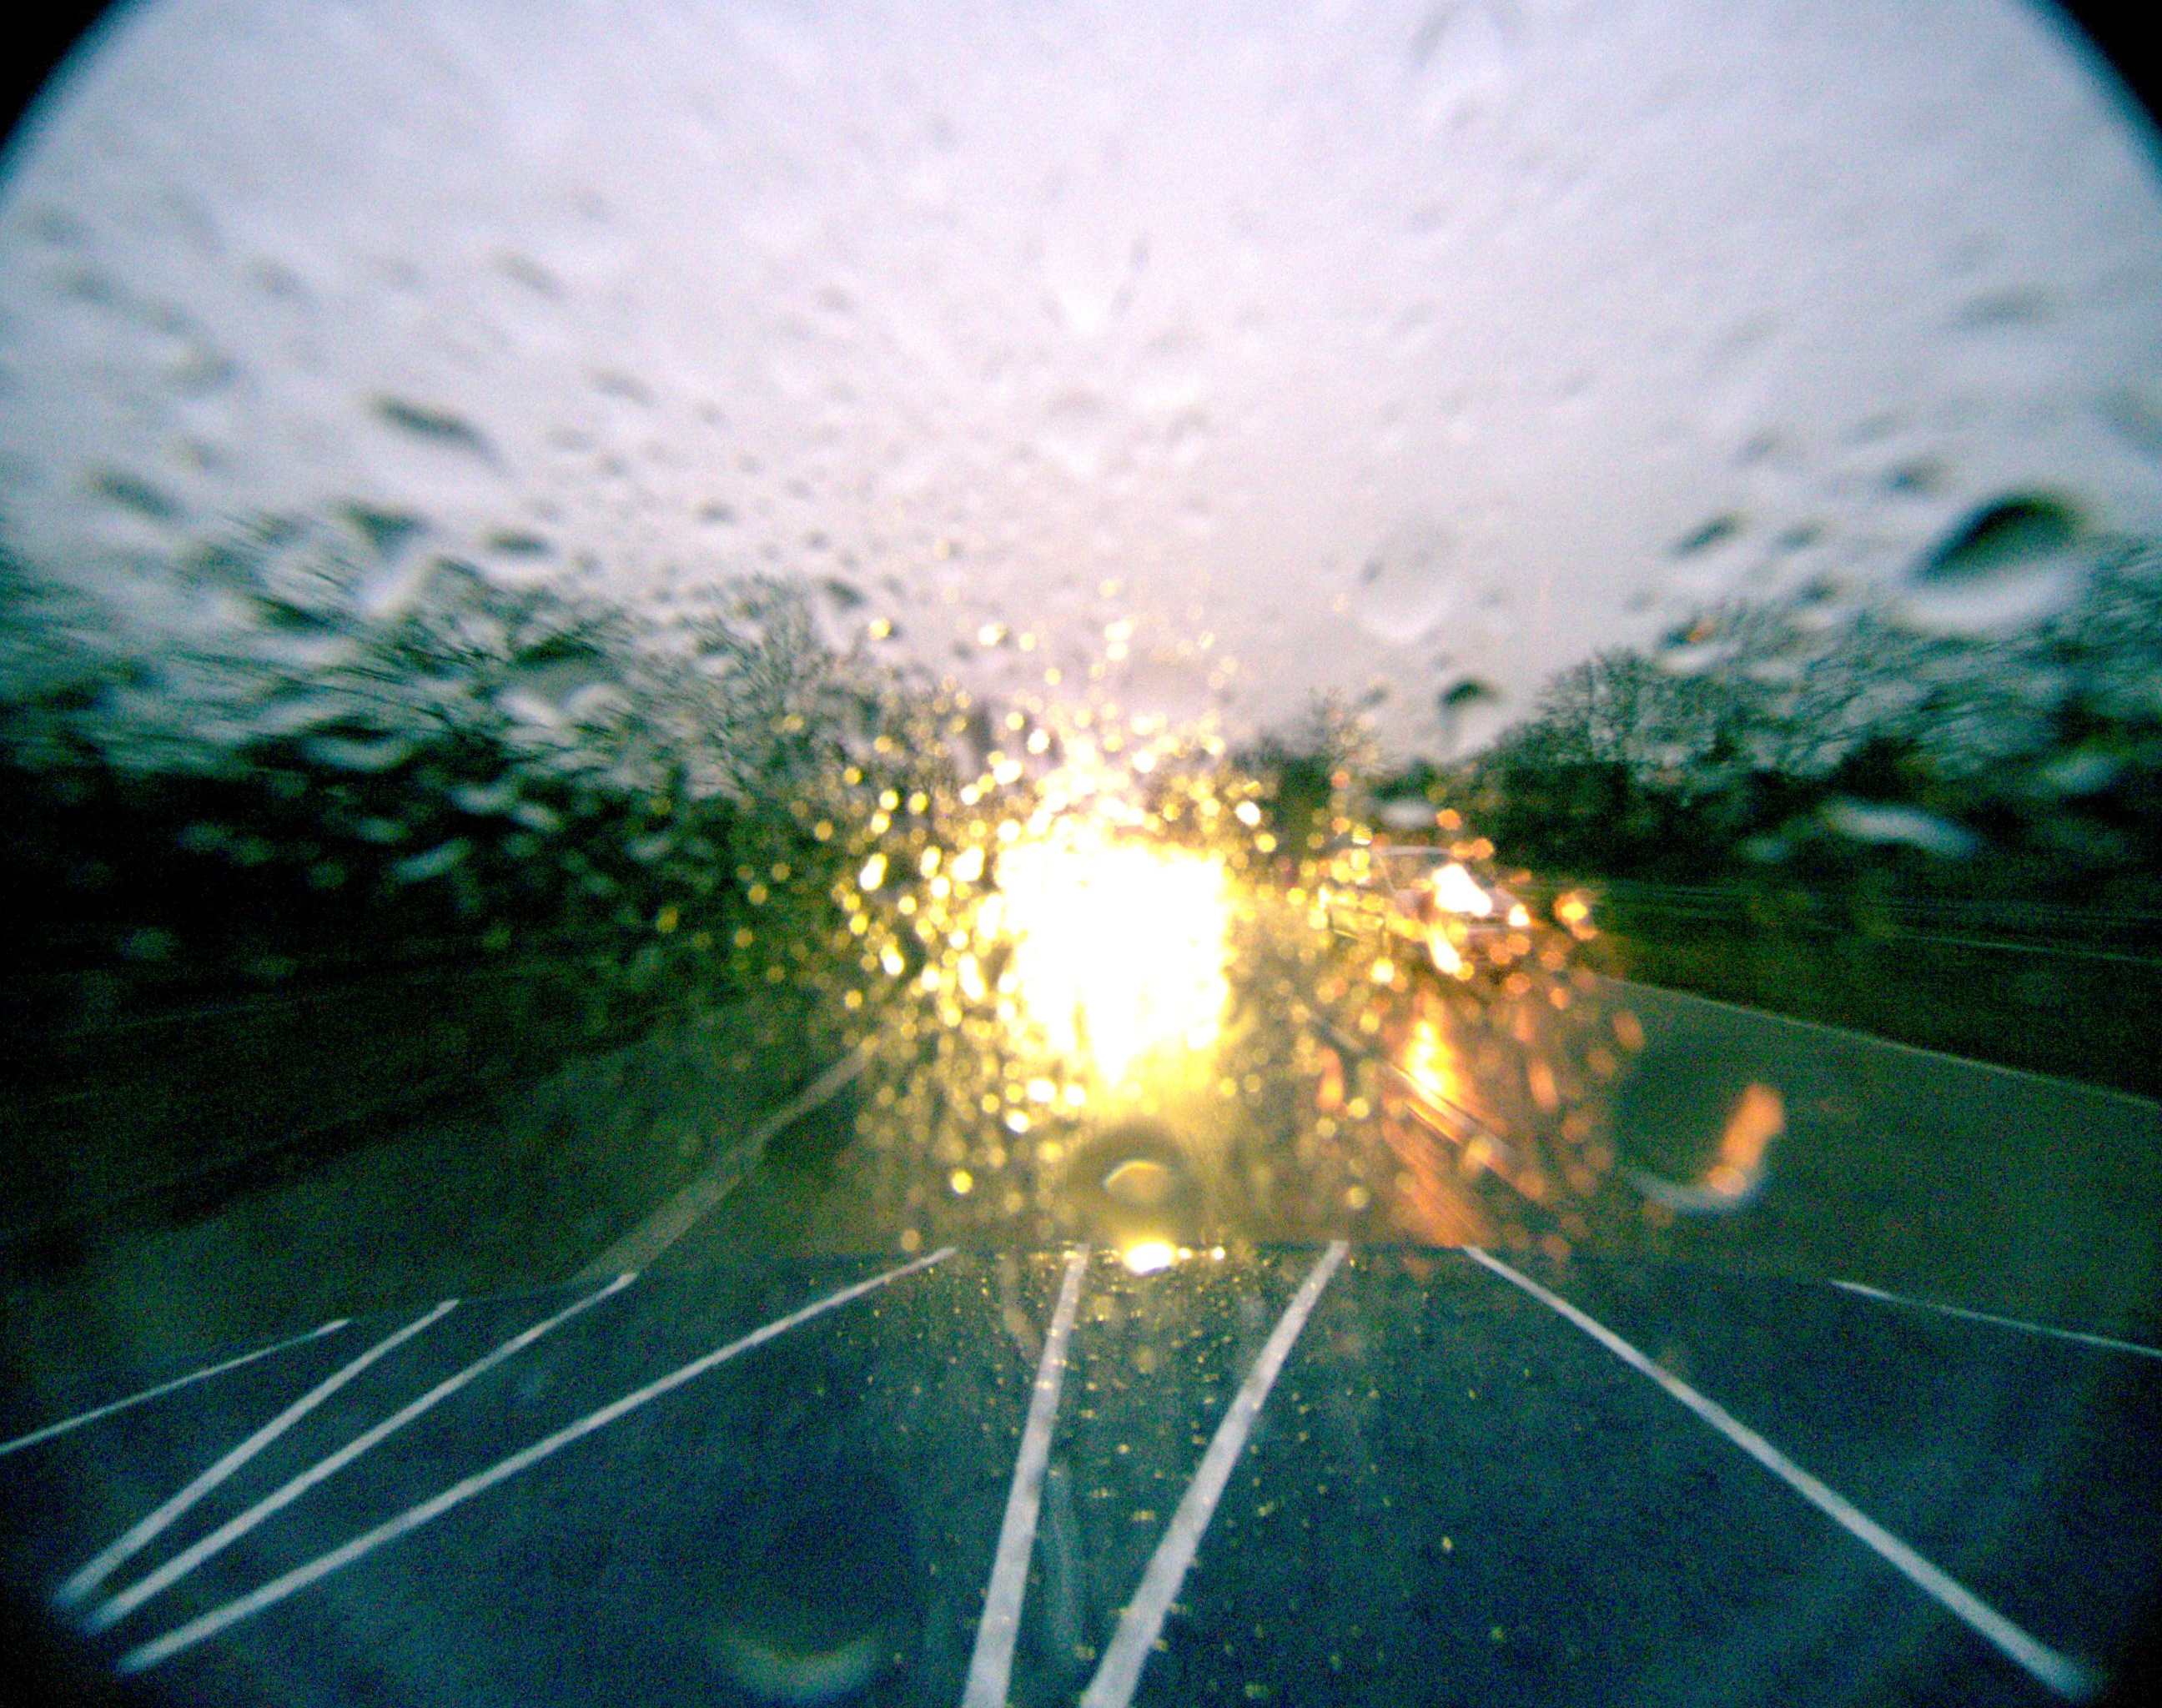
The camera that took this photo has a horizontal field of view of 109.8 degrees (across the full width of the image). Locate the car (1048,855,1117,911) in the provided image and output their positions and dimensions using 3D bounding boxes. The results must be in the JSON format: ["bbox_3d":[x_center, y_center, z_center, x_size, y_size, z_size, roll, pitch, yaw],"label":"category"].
[{"bbox_3d":[0.137,0.822,23.441,1.830,1.524,4.001,-1,1,4],"label":"car"}]

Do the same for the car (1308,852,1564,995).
[{"bbox_3d":[4.698,0.796,10.798,1.765,1.590,4.165,-1,1,1],"label":"car"}]

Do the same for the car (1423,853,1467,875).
[{"bbox_3d":[28.781,0.753,60.193,1.787,1.599,4.684,-1,1,8],"label":"car"}]

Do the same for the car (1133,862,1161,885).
[{"bbox_3d":[4.364,1.286,50.598,1.696,1.327,4.000,-2,1,4],"label":"car"}]

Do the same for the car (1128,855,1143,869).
[{"bbox_3d":[6.836,1.009,95.499,1.852,1.610,3.952,-2,1,4],"label":"car"}]

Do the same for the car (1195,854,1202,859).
[{"bbox_3d":[34.539,0.777,223.277,1.652,1.491,3.957,-1,1,4],"label":"car"}]

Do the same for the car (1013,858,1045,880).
[{"bbox_3d":[-3.620,1.061,53.666,1.727,1.426,3.791,-1,1,4],"label":"car"}]

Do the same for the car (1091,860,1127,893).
[{"bbox_3d":[1.505,1.134,40.118,1.727,1.573,3.791,-1,1,4],"label":"car"}]

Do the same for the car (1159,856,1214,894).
[{"bbox_3d":[4.682,0.914,34.130,2.026,1.521,4.146,-1,1,2],"label":"car"}]

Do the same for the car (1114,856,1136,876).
[{"bbox_3d":[4.023,1.032,68.751,1.852,1.610,3.952,-2,1,4],"label":"car"}]

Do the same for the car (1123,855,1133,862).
[{"bbox_3d":[10.957,0.967,177.287,1.997,1.605,4.002,-1,0,6],"label":"car"}]
